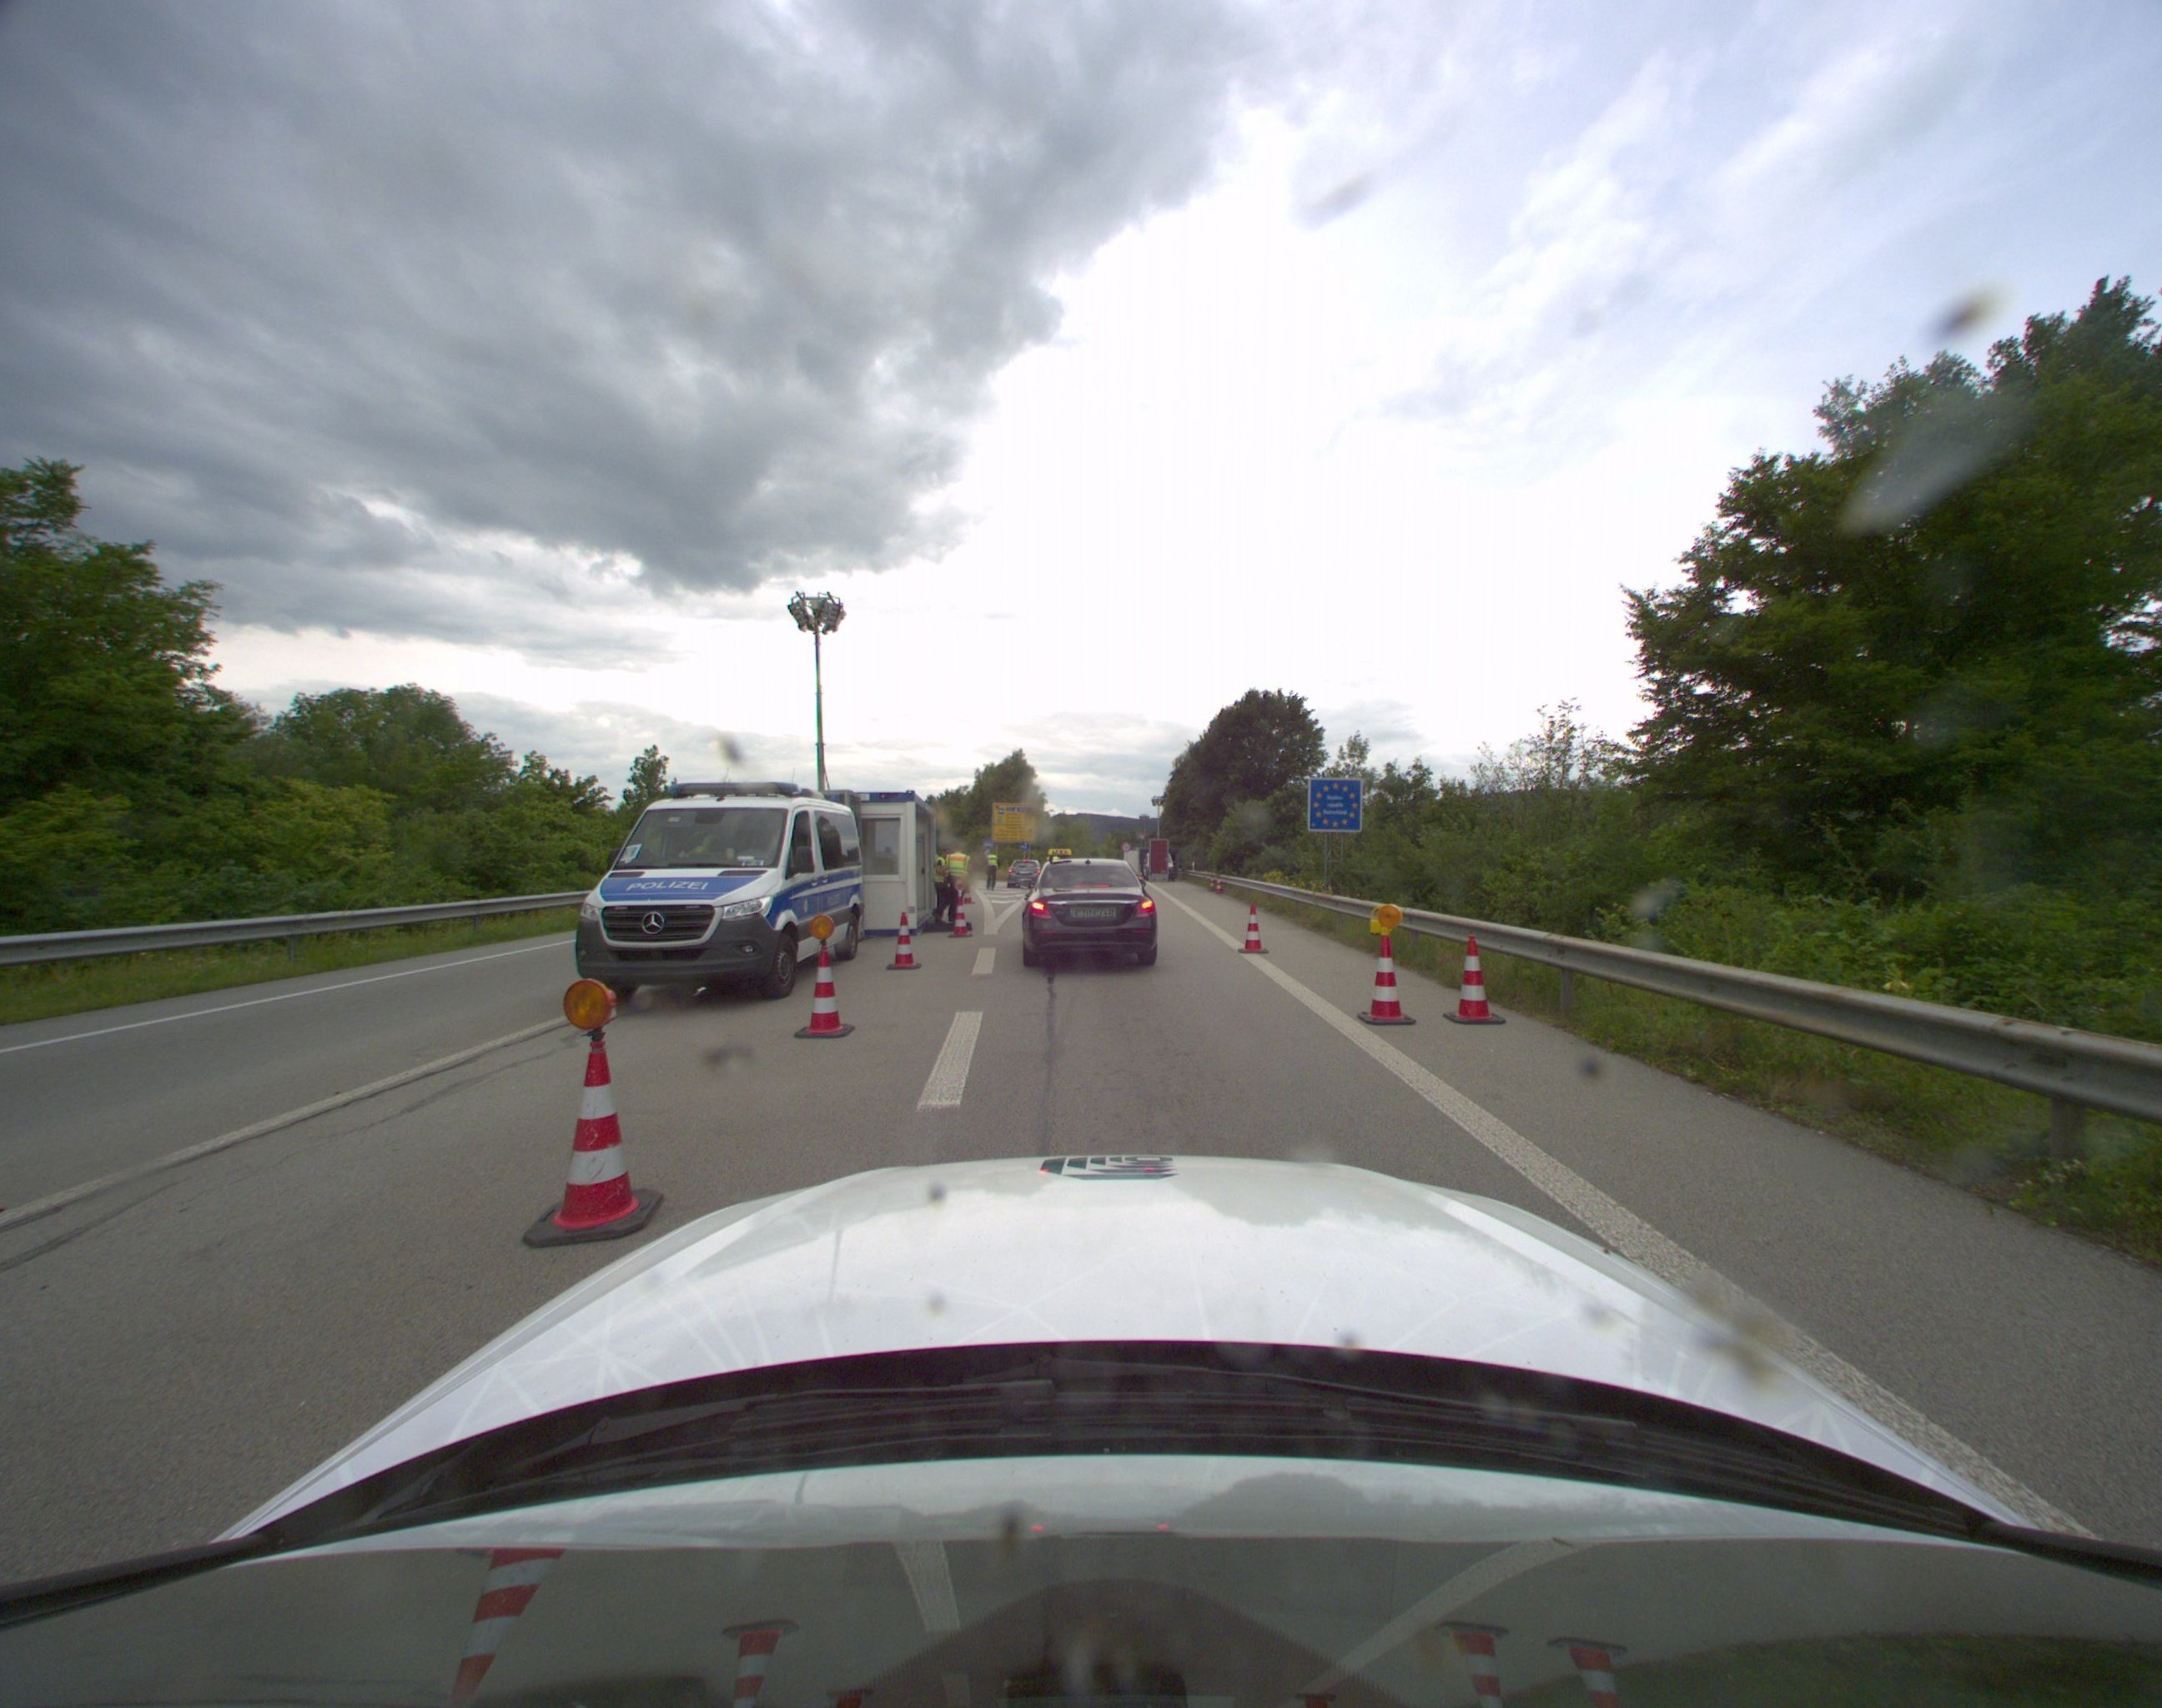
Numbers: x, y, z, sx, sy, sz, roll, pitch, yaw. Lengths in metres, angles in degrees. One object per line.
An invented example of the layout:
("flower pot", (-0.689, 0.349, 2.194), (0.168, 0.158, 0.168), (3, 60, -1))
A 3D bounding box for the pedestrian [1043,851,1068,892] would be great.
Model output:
("pedestrian", (-1.100, 0.716, 34.510), (0.909, 1.698, 0.910), (-1, 0, -12))

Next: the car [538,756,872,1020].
("car", (-4.215, 0.310, 10.326), (2.025, 2.463, 5.272), (-1, 0, -3))

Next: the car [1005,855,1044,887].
("car", (-2.761, 0.817, 40.528), (1.851, 1.498, 4.252), (-1, 0, -3))

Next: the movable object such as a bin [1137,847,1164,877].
("movable object such as a bin", (5.459, 0.614, 64.415), (1.986, 2.280, 4.170), (-1, 0, 2))

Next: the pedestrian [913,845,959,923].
("pedestrian", (-3.296, 0.674, 18.563), (0.755, 1.718, 0.821), (-1, -1, 12))

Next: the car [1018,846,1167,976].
("car", (0.076, 0.713, 12.372), (1.850, 1.595, 4.372), (-1, 0, -2))

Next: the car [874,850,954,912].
("car", (-5.026, 0.762, 25.055), (1.865, 1.743, 4.002), (-1, 0, -4))

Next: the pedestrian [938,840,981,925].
("pedestrian", (-2.697, 0.617, 18.132), (0.810, 1.830, 0.809), (-1, -1, -1))

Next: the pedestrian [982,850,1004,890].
("pedestrian", (-3.913, 0.694, 36.155), (0.909, 1.769, 0.910), (0, 0, -10))

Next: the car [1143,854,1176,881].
("car", (5.312, 0.889, 55.615), (1.909, 1.678, 5.084), (1, 0, 1))

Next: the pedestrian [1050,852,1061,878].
("pedestrian", (-2.003, 0.854, 63.889), (0.659, 1.961, 0.762), (-1, -1, 16))
